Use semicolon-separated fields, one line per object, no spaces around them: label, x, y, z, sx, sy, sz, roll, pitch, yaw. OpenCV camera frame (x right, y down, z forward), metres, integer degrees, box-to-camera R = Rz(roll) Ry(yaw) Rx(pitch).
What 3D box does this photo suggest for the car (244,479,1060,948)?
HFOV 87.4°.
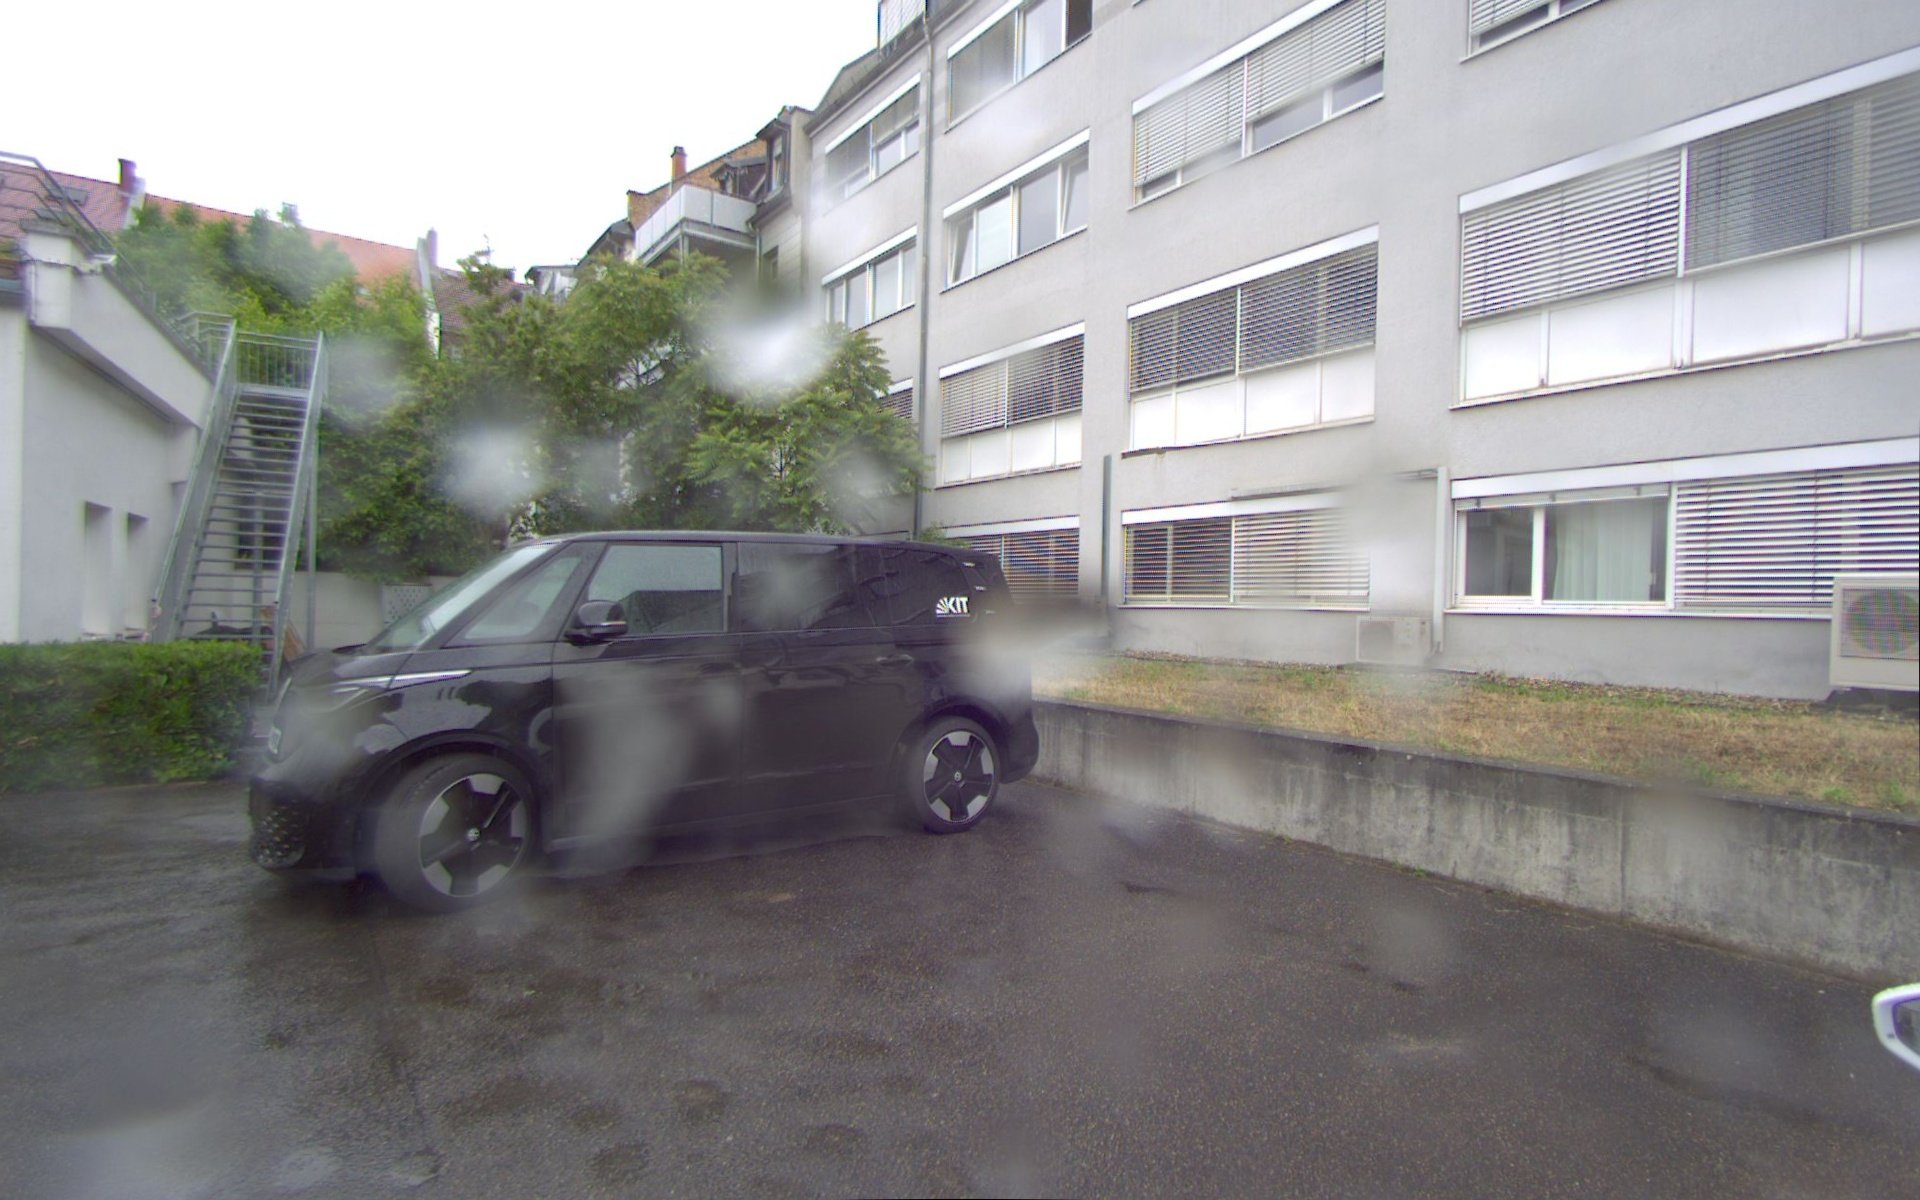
car;-1.703;0.518;6.300;4.481;1.922;2.025;1;-1;-37
